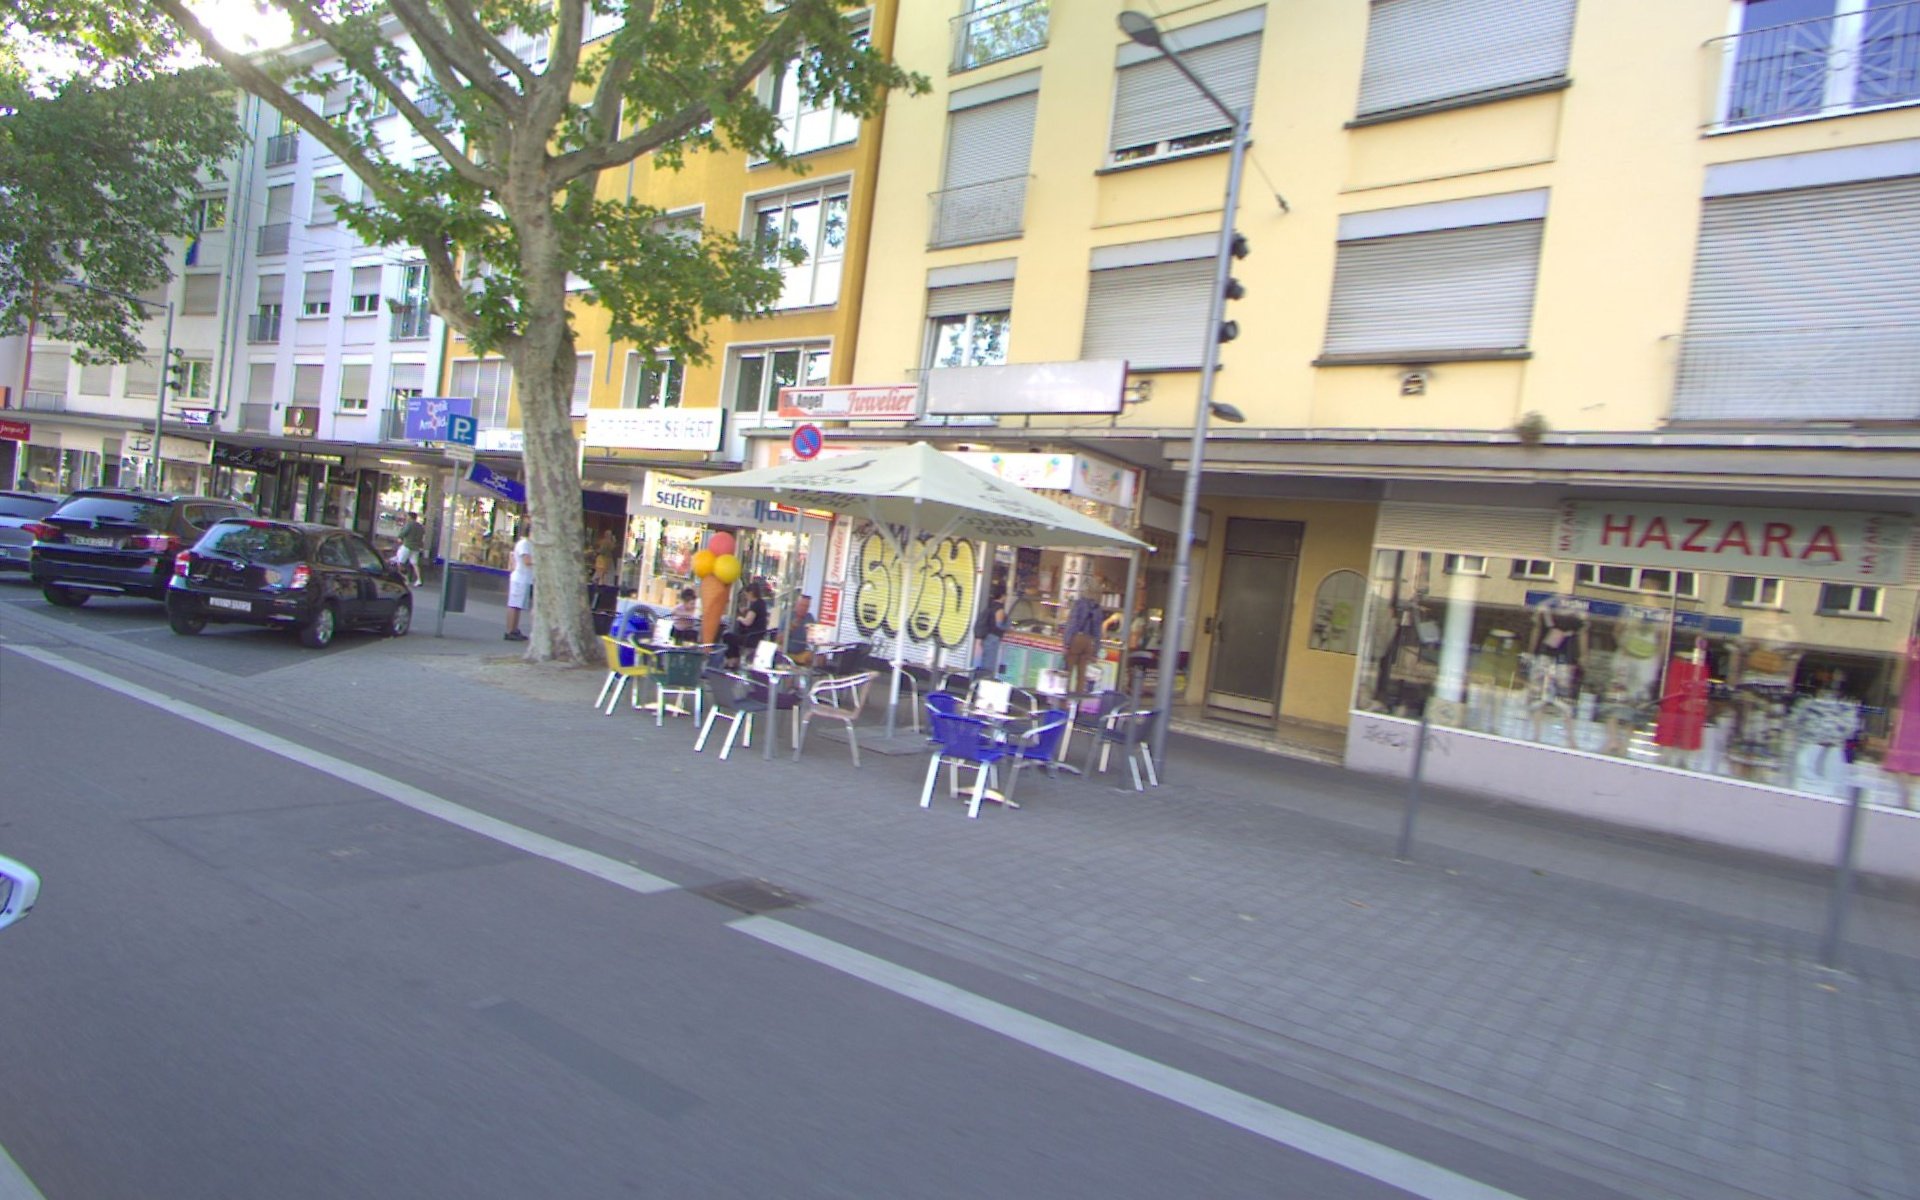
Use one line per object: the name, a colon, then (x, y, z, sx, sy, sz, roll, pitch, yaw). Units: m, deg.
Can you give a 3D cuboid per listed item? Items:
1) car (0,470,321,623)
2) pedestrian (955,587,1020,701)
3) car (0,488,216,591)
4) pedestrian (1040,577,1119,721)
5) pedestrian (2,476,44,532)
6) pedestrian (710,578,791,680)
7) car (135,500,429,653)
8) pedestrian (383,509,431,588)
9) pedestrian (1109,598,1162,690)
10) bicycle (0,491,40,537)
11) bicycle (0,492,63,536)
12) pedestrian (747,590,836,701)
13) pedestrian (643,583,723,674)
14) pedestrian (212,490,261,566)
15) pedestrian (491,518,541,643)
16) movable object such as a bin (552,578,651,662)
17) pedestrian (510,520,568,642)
car: (-11.389, -0.698, 14.701, 1.779, 1.702, 4.144, 7, 0, -8)
pedestrian: (0.387, 0.631, 14.518, 0.618, 1.567, 0.633, 2, 3, -27)
car: (-14.840, -0.992, 16.876, 1.778, 1.469, 4.173, 7, 0, -6)
pedestrian: (1.597, 0.649, 13.502, 0.629, 1.827, 0.623, 6, 1, -22)
pedestrian: (-32.701, -3.355, 35.106, 0.751, 1.816, 0.781, 7, 1, 32)
pedestrian: (-2.909, 0.404, 13.961, 0.746, 1.290, 0.584, 7, -1, 32)
car: (-8.743, -0.287, 13.382, 1.712, 1.559, 3.602, 7, 0, -8)
pedestrian: (-13.392, -1.233, 24.349, 0.776, 1.816, 0.705, 8, 5, 38)
pedestrian: (2.637, 0.663, 15.103, 0.500, 1.313, 0.425, 8, 2, 36)
bicycle: (-28.370, -2.587, 29.352, 0.818, 1.248, 2.079, 8, 1, 36)
bicycle: (-28.277, -2.610, 30.289, 0.668, 1.169, 1.761, 8, 2, 40)
pedestrian: (-2.061, 0.560, 12.341, 0.733, 1.240, 0.606, 7, 1, 32)
pedestrian: (-3.809, 0.397, 13.835, 0.738, 1.128, 0.584, 7, -1, 32)
pedestrian: (-19.521, -1.939, 27.154, 0.810, 1.900, 0.643, 7, 1, 30)
pedestrian: (-6.839, -0.295, 15.517, 0.466, 1.857, 0.516, 5, 3, -7)
movable object such as a bin: (-4.984, 0.296, 14.049, 0.824, 1.035, 0.930, 8, -1, 11)
pedestrian: (-6.656, -0.296, 15.906, 0.466, 1.855, 0.517, 7, 1, 10)
